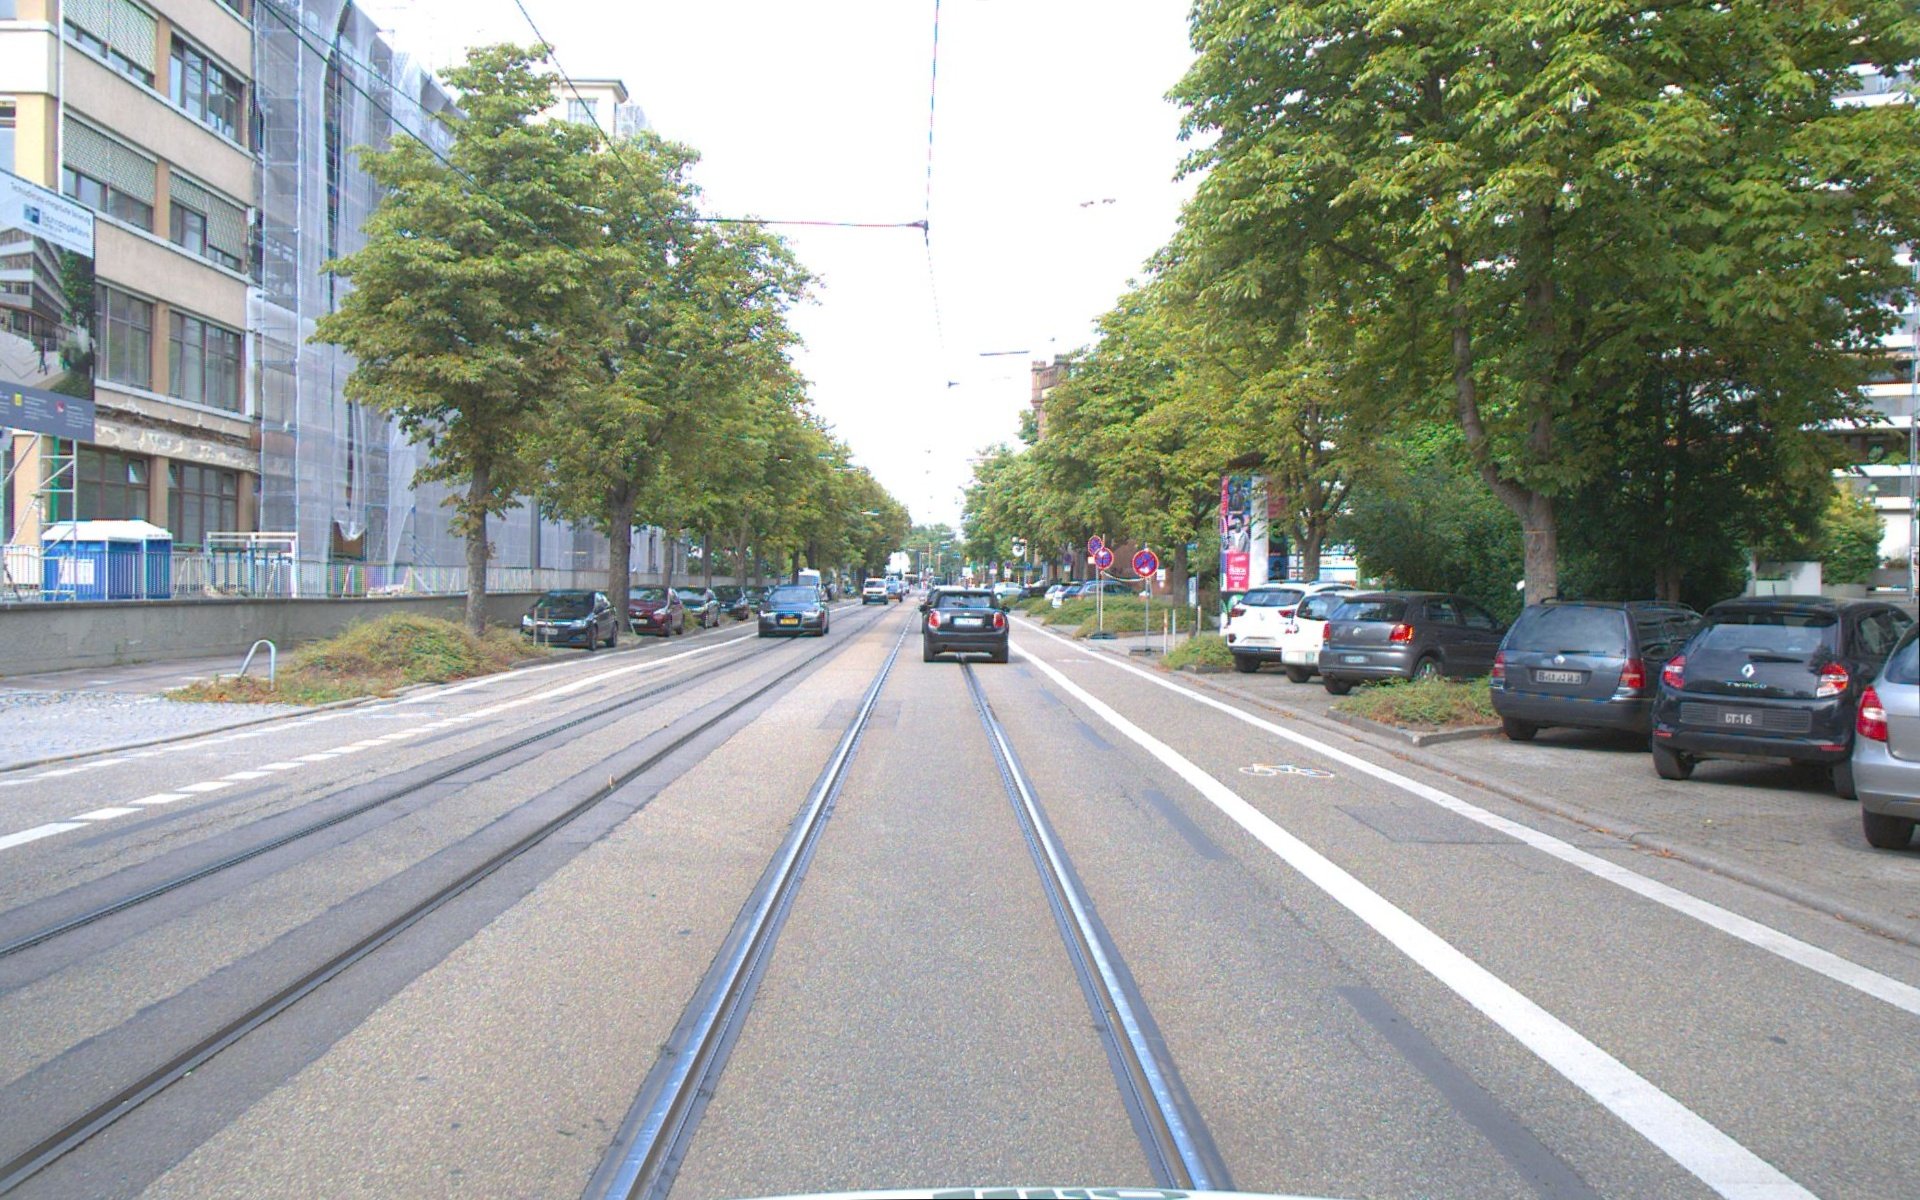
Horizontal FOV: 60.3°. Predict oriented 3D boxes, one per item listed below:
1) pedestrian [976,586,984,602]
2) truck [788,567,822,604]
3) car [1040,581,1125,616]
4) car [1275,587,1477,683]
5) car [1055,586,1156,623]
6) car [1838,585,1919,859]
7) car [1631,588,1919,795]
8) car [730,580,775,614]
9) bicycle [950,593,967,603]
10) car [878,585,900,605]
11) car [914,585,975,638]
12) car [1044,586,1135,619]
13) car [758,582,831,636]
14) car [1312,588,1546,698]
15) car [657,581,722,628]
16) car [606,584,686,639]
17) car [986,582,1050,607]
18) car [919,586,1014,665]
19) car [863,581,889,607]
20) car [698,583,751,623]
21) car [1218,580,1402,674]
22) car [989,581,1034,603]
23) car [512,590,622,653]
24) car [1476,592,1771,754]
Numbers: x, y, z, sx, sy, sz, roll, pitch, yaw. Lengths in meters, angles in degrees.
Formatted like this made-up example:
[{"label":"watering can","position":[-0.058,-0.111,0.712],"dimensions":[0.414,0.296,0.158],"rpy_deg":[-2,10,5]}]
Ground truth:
[{"label":"pedestrian","position":[2.210,-0.625,179.205],"dimensions":[0.711,1.674,0.767],"rpy_deg":[2,0,9]},{"label":"truck","position":[-10.586,-0.989,113.360],"dimensions":[2.029,2.513,4.897],"rpy_deg":[0,0,-2]},{"label":"car","position":[6.004,-0.070,81.102],"dimensions":[3.908,1.656,1.883],"rpy_deg":[1,0,-5]},{"label":"car","position":[6.849,0.545,27.100],"dimensions":[3.415,1.468,1.537],"rpy_deg":[0,1,-41]},{"label":"car","position":[6.025,0.185,68.796],"dimensions":[3.908,1.449,1.883],"rpy_deg":[1,0,-5]},{"label":"car","position":[6.988,0.722,10.455],"dimensions":[1.612,1.549,3.715],"rpy_deg":[1,0,43]},{"label":"car","position":[7.422,0.712,14.502],"dimensions":[1.612,1.549,3.715],"rpy_deg":[1,0,43]},{"label":"car","position":[-9.979,-0.147,79.829],"dimensions":[1.766,1.611,4.030],"rpy_deg":[0,0,-2]},{"label":"bicycle","position":[-0.134,-0.226,174.759],"dimensions":[1.684,1.009,0.659],"rpy_deg":[2,0,7]},{"label":"car","position":[-5.907,-0.438,138.593],"dimensions":[1.766,1.650,4.483],"rpy_deg":[0,0,-2]},{"label":"car","position":[-0.514,0.331,51.675],"dimensions":[1.757,1.495,3.999],"rpy_deg":[3,0,-2]},{"label":"car","position":[5.888,0.096,75.694],"dimensions":[3.908,1.449,1.883],"rpy_deg":[1,0,-5]},{"label":"car","position":[-4.774,0.228,48.302],"dimensions":[1.798,1.473,4.552],"rpy_deg":[1,1,-2]},{"label":"car","position":[6.834,0.584,23.971],"dimensions":[3.503,1.468,1.600],"rpy_deg":[0,1,-41]},{"label":"car","position":[-9.584,0.132,58.953],"dimensions":[1.766,1.611,4.030],"rpy_deg":[0,0,-2]},{"label":"car","position":[-9.449,0.321,50.085],"dimensions":[1.766,1.611,4.030],"rpy_deg":[0,0,-2]},{"label":"car","position":[3.730,-0.389,106.675],"dimensions":[3.908,1.534,1.883],"rpy_deg":[1,0,-5]},{"label":"car","position":[0.080,0.465,33.522],"dimensions":[1.757,1.448,3.999],"rpy_deg":[2,0,-2]},{"label":"car","position":[-6.035,-0.427,119.213],"dimensions":[1.766,1.855,4.483],"rpy_deg":[0,0,-2]},{"label":"car","position":[-9.892,0.100,69.680],"dimensions":[1.766,1.611,4.030],"rpy_deg":[0,0,-2]},{"label":"car","position":[6.417,0.463,30.170],"dimensions":[3.415,1.600,1.537],"rpy_deg":[0,1,-41]},{"label":"car","position":[4.763,-0.757,152.892],"dimensions":[3.908,1.944,1.998],"rpy_deg":[2,1,-4]},{"label":"car","position":[-9.364,0.478,39.694],"dimensions":[1.766,1.398,4.030],"rpy_deg":[0,0,-2]},{"label":"car","position":[6.993,0.698,17.263],"dimensions":[1.612,1.484,3.715],"rpy_deg":[1,0,43]}]
